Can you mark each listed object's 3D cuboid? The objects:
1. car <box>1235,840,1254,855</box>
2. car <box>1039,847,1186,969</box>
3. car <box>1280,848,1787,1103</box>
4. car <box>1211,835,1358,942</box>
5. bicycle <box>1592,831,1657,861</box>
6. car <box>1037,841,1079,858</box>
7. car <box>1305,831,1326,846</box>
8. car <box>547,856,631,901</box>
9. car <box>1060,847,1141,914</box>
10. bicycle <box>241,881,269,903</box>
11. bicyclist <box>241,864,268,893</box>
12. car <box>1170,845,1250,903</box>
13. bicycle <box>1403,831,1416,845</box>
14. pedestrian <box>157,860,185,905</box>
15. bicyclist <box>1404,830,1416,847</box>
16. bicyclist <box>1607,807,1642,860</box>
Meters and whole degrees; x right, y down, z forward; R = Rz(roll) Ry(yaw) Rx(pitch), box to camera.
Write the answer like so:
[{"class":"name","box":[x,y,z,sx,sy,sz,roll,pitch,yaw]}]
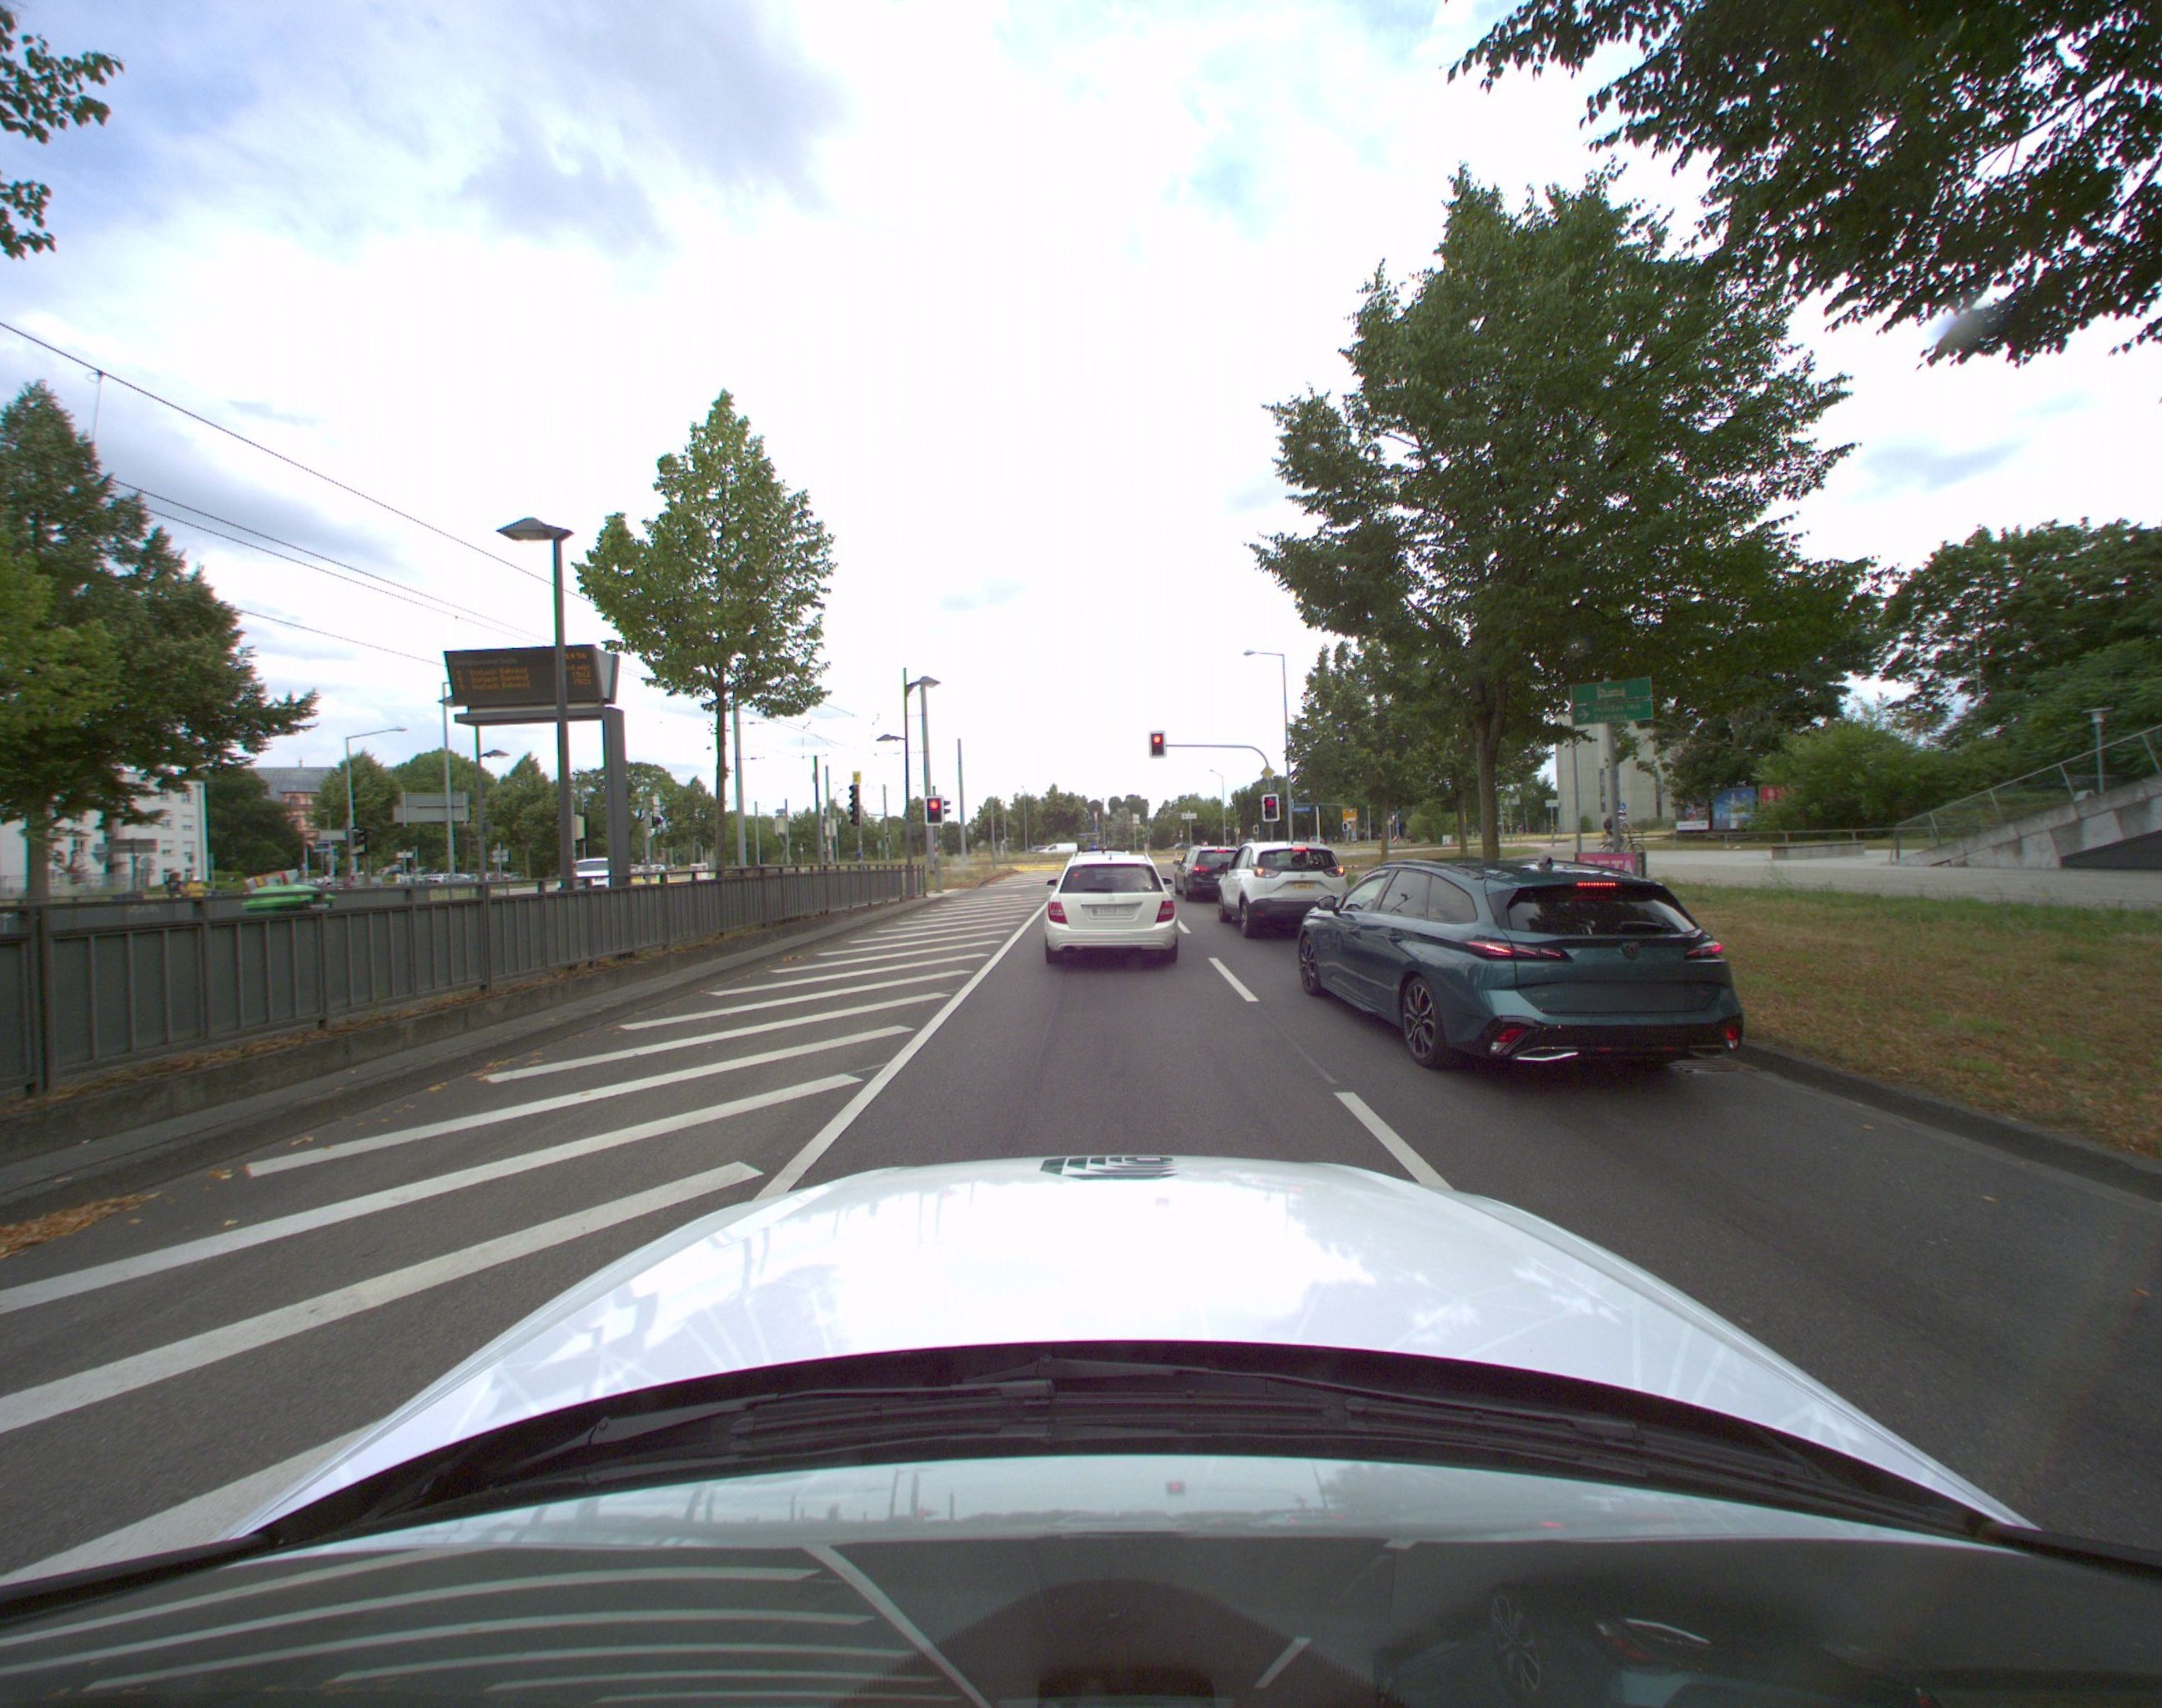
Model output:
[{"class":"car","box":[19.346,-0.773,96.288,1.979,1.791,4.016,0,0,14]},{"class":"car","box":[0.389,0.642,11.879,1.768,1.448,3.910,-1,0,0]},{"class":"car","box":[3.186,0.684,6.906,1.783,1.432,4.307,-1,1,-2]},{"class":"car","box":[3.520,0.522,14.829,1.780,1.624,3.912,-2,0,2]},{"class":"bicycle","box":[19.690,-0.288,29.521,1.927,0.984,0.564,-2,0,0]},{"class":"car","box":[-2.955,-0.584,103.808,4.984,2.013,1.993,-2,1,-11]},{"class":"car","box":[25.997,-1.719,90.357,1.771,1.636,4.416,-2,1,12]},{"class":"car","box":[-19.990,0.949,33.301,2.000,1.618,4.357,-2,1,-19]},{"class":"car","box":[0.432,0.562,19.957,1.768,1.448,3.910,-1,0,0]},{"class":"bicycle","box":[-47.013,2.162,46.374,0.813,1.129,2.676,-3,1,-39]},{"class":"bicyclist","box":[-47.018,1.392,46.327,0.895,1.562,0.742,-2,1,-36]},{"class":"car","box":[3.530,0.491,22.812,1.619,1.448,3.910,-1,0,0]},{"class":"bicycle","box":[35.220,-1.675,87.357,0.702,1.505,2.008,0,0,2]},{"class":"pedestrian","box":[-38.735,1.211,34.672,0.652,1.849,0.486,-2,0,-37]},{"class":"bicyclist","box":[35.227,-1.689,87.285,0.863,1.789,1.174,0,0,0]},{"class":"bicyclist","box":[19.670,-0.735,29.489,0.726,1.885,0.734,-2,0,1]}]
